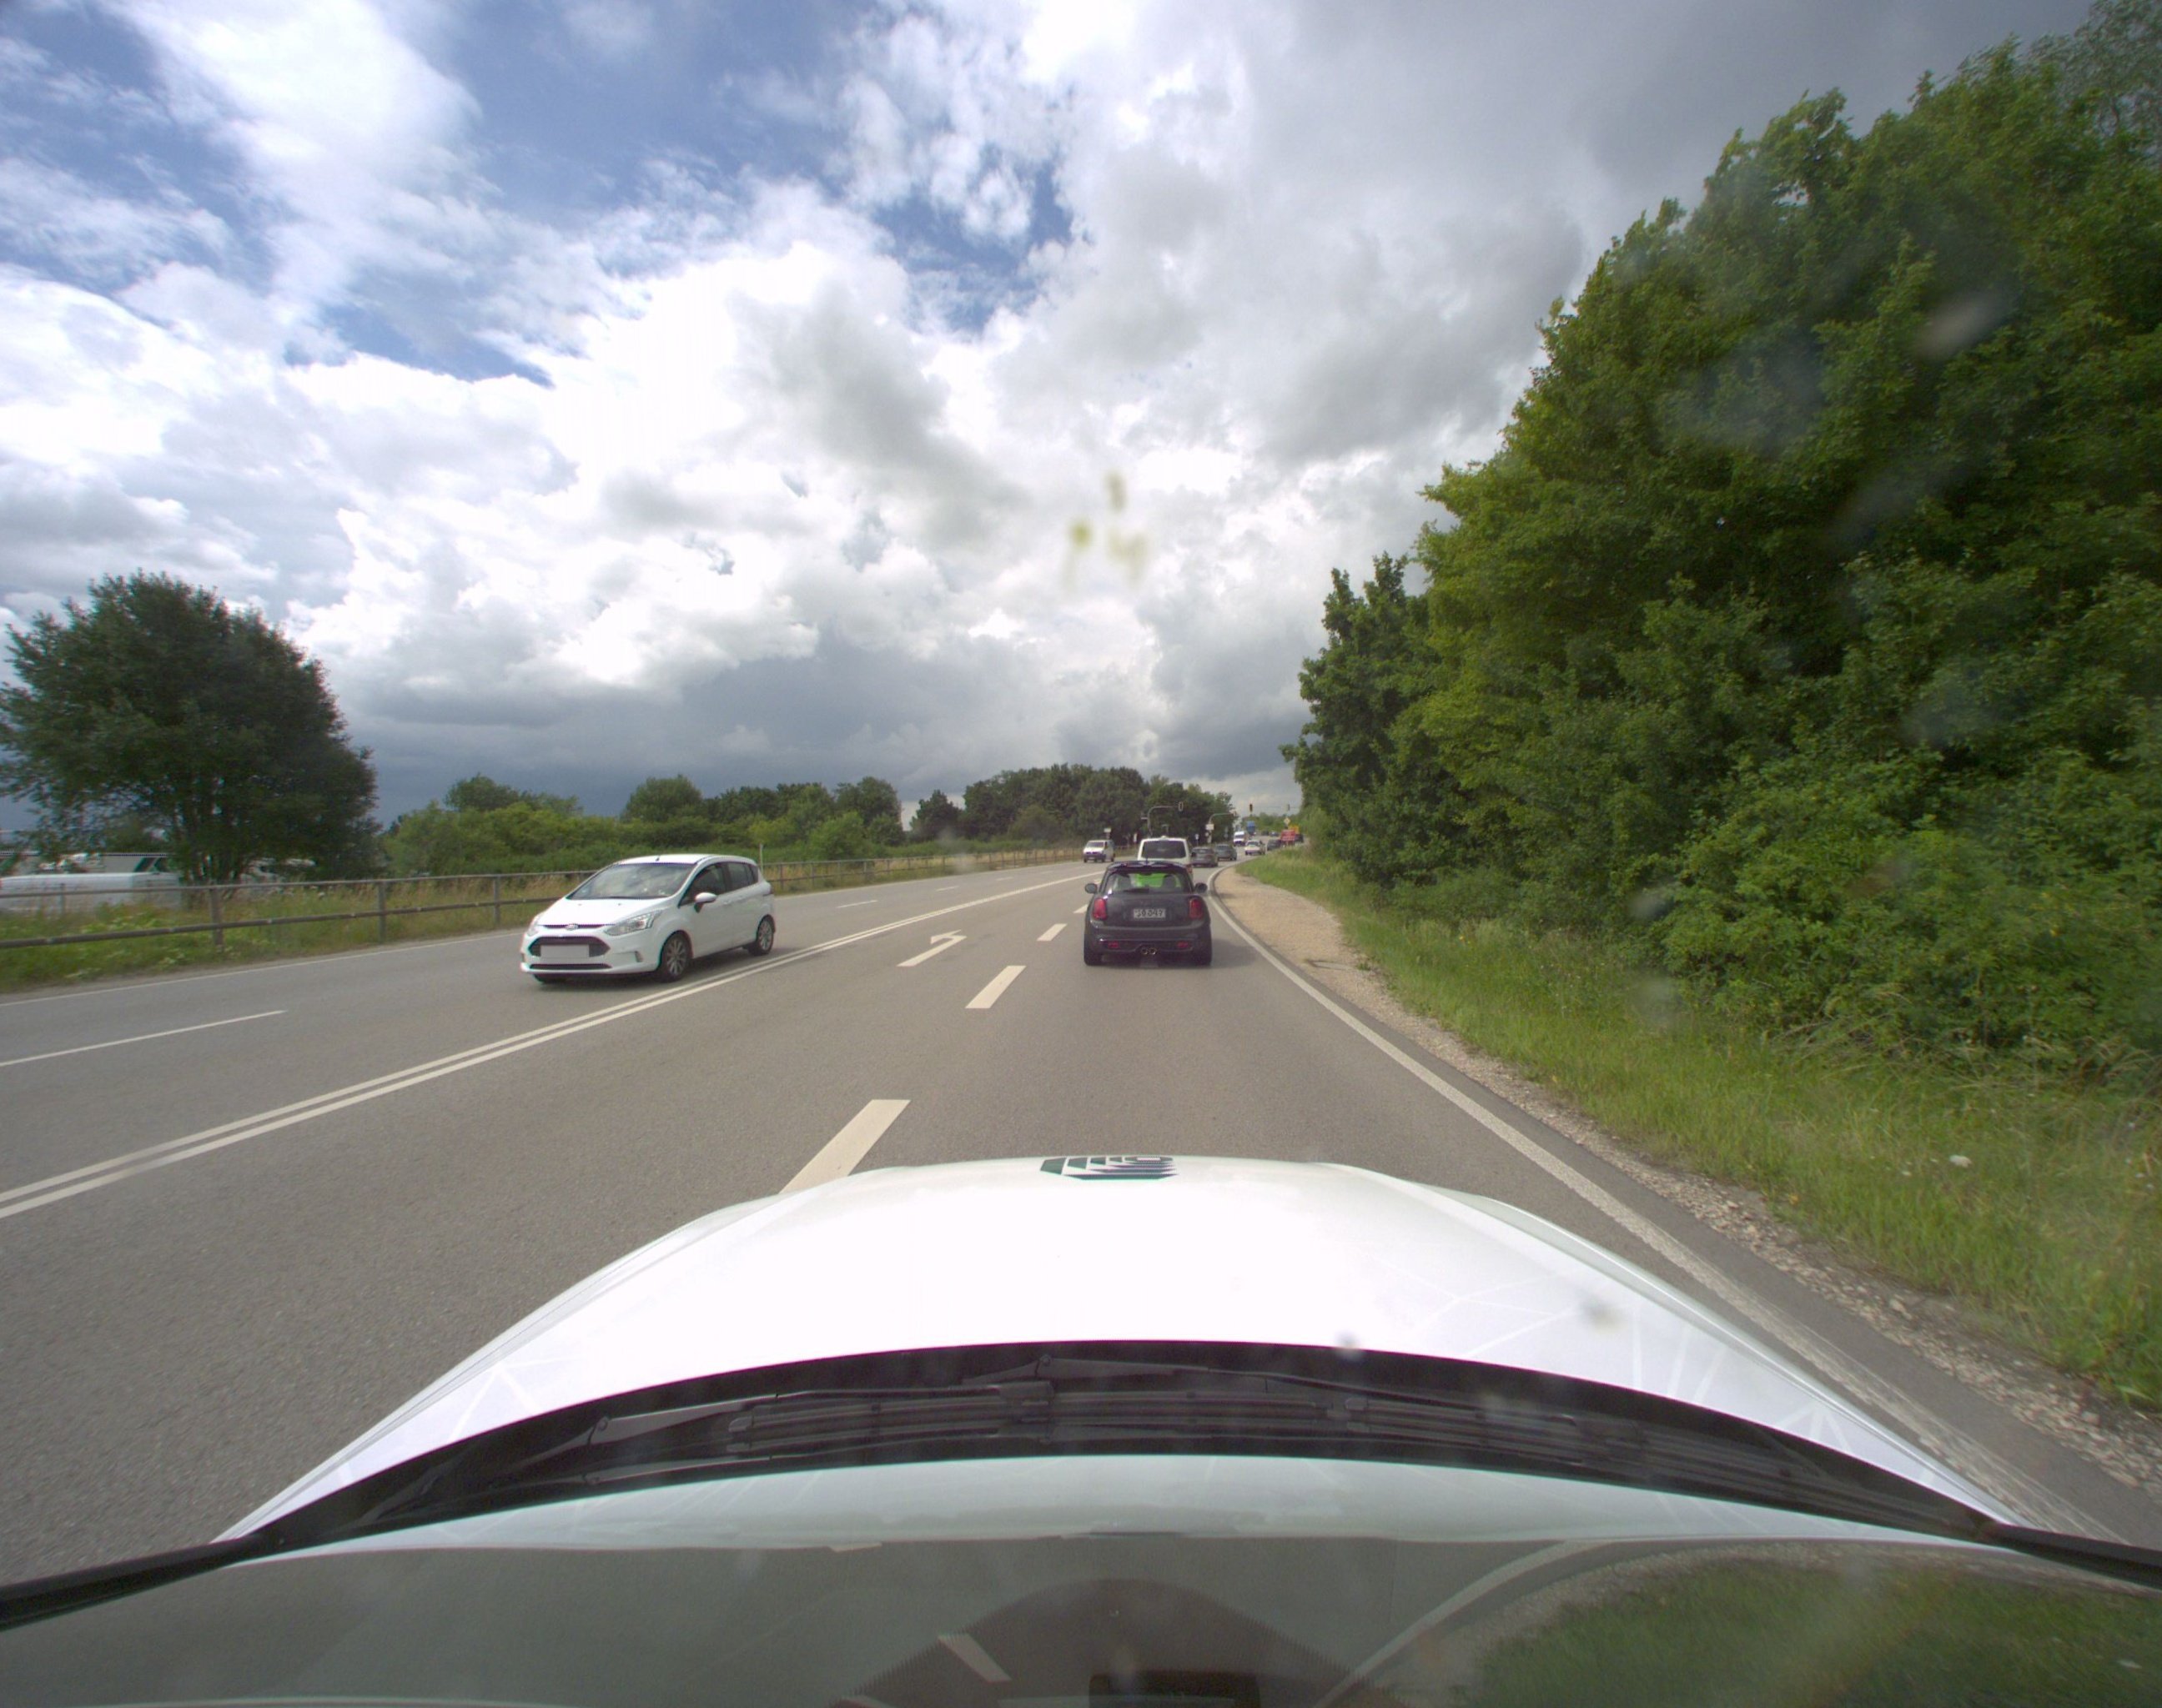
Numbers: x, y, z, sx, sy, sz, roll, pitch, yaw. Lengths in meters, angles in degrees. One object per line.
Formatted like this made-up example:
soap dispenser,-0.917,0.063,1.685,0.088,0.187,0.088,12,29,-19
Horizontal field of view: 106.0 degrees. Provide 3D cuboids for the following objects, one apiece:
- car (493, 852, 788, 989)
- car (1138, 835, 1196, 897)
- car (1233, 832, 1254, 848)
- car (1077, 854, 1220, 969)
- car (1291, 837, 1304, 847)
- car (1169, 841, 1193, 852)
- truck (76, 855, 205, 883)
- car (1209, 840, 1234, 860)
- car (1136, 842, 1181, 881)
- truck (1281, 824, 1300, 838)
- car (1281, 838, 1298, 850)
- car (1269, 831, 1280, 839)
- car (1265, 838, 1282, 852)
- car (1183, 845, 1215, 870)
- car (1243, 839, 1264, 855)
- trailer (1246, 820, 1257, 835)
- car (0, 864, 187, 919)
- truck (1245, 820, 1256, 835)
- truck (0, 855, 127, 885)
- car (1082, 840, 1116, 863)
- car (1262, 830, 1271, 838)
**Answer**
car,-5.719,0.753,11.228,1.723,1.518,4.002,-1,0,2
car,2.928,0.361,28.038,1.836,1.987,3.847,0,0,5
car,28.721,-2.409,143.809,2.413,2.674,6.923,-1,1,20
car,1.029,0.750,12.443,1.836,1.428,3.846,0,1,5
car,36.886,-2.006,138.530,1.978,1.695,4.505,1,0,16
car,12.953,-0.957,105.435,1.792,1.441,4.379,-1,1,26
truck,-72.031,1.120,62.552,1.980,2.014,6.252,0,-1,13
car,12.602,-0.320,72.949,1.980,1.684,3.991,0,0,13
car,3.610,0.344,38.026,1.984,1.684,4.006,0,0,5
truck,45.447,-5.002,176.780,2.703,2.897,8.786,-1,1,6
car,30.676,-1.457,119.773,1.977,1.695,4.509,-1,1,20
car,49.640,-4.792,208.986,2.169,2.014,4.007,0,-1,6
car,24.880,-1.106,104.995,1.979,1.684,4.016,0,0,15
car,8.342,0.235,57.985,1.984,1.684,4.005,0,0,4
car,19.062,-0.769,89.667,1.978,1.684,4.017,0,0,16
trailer,49.032,-7.500,234.067,2.507,4.100,6.767,-1,1,18
car,-33.942,1.236,27.562,4.576,1.734,1.991,0,0,-14
truck,47.946,-7.441,230.808,2.519,4.096,4.019,-1,1,18
truck,-73.137,1.087,57.666,1.980,2.014,7.158,0,0,13
car,1.637,-0.242,72.149,1.979,2.013,4.686,-1,0,15
car,51.879,-5.566,227.504,1.984,2.014,4.005,0,-1,5
